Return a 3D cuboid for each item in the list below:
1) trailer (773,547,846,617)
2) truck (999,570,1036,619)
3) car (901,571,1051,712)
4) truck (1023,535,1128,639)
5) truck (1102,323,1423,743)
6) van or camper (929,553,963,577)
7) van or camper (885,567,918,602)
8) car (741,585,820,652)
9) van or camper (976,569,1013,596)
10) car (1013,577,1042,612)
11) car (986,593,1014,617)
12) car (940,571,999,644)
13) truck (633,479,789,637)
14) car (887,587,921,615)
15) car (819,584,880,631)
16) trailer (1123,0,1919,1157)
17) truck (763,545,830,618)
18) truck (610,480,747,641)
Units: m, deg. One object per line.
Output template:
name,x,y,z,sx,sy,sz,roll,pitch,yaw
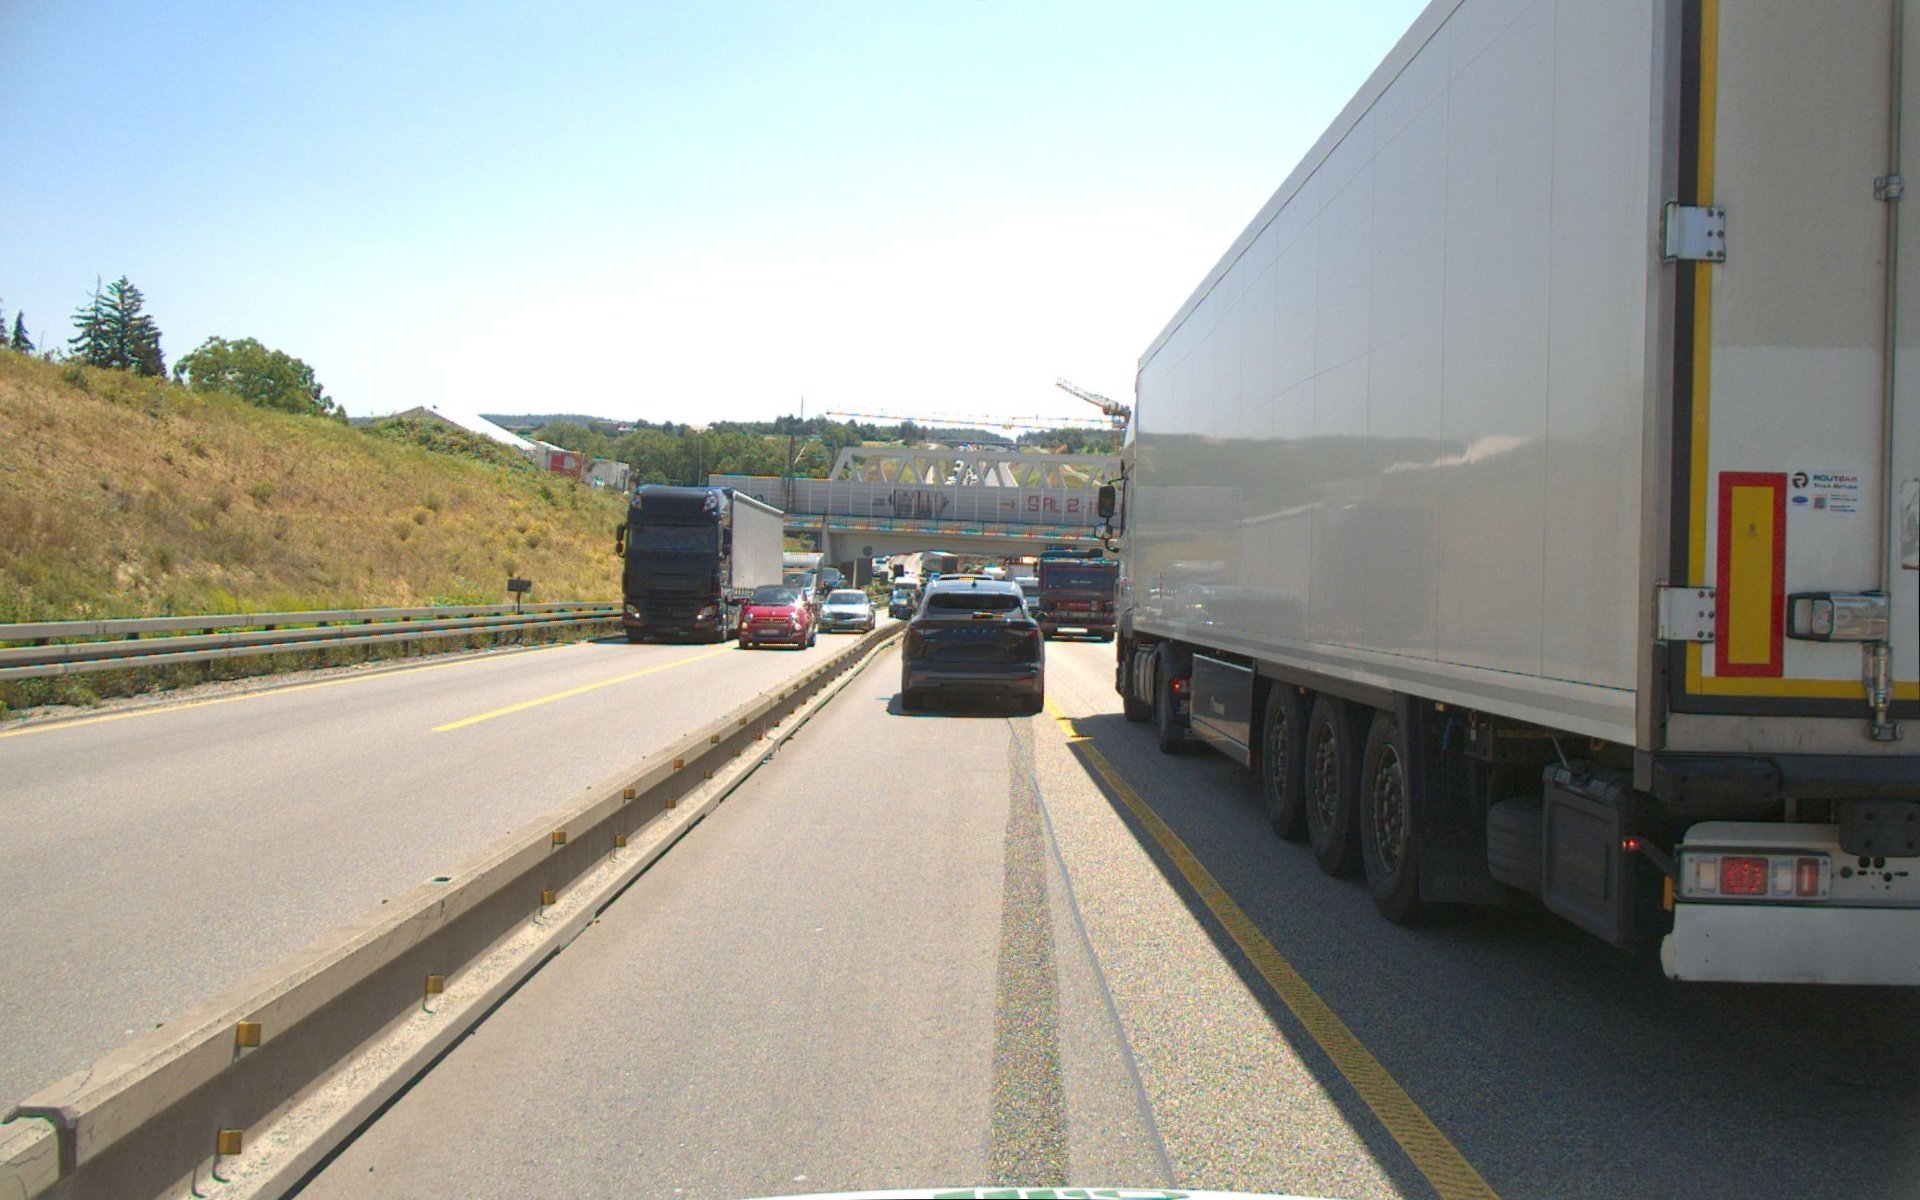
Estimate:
trailer,-6.907,-0.823,77.347,2.222,2.932,13.042,1,0,0
truck,5.310,-0.537,154.025,3.110,4.393,9.258,1,0,1
car,0.185,0.478,21.297,1.763,1.649,3.297,1,0,0
truck,3.824,-0.460,57.527,2.756,3.189,12.838,1,1,0
truck,3.224,-0.683,18.924,2.720,4.129,4.904,1,0,0
van or camper,-2.231,-5.434,257.779,3.872,3.479,8.385,1,1,-11
van or camper,-4.329,-1.149,123.317,2.170,2.524,4.751,1,0,1
car,-4.312,0.415,40.023,1.558,1.513,3.295,1,0,0
van or camper,4.670,-2.451,223.425,3.867,3.479,8.395,1,1,-6
car,4.604,-0.390,113.505,1.628,2.309,3.795,2,0,-2
car,2.355,0.297,98.900,1.461,1.354,3.243,2,0,-2
car,0.220,0.174,43.702,1.445,1.826,3.297,1,1,-1
truck,-7.376,-1.193,51.112,2.711,4.159,13.805,1,0,0
car,-2.967,0.057,88.636,1.631,1.453,4.000,0,0,1
car,-3.714,0.239,56.044,1.789,1.513,4.196,1,0,0
trailer,3.234,-0.602,11.519,2.744,4.129,14.116,1,0,0
truck,-6.891,-0.758,70.225,2.222,2.932,5.851,1,0,0
truck,-7.325,-1.007,43.603,2.711,3.952,4.963,1,0,0
